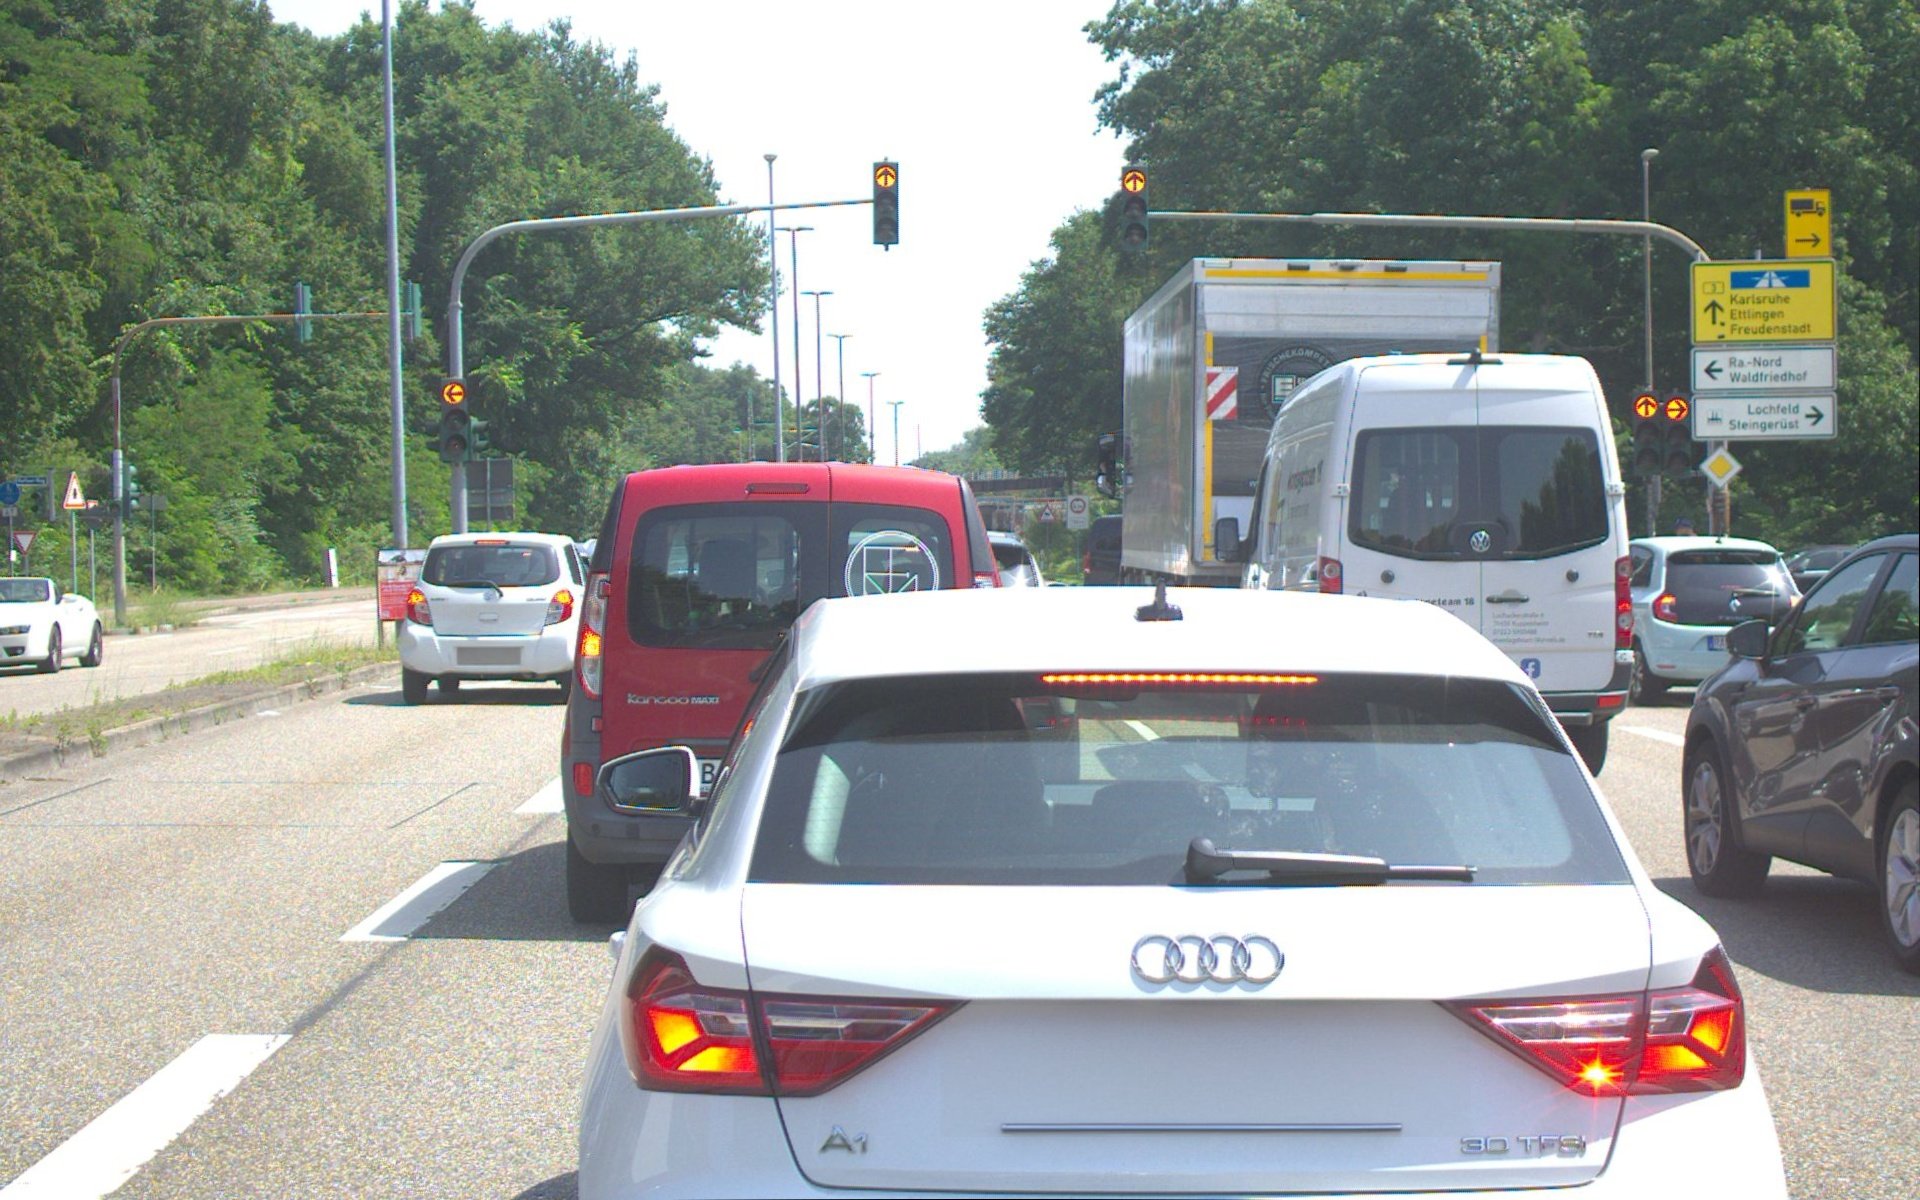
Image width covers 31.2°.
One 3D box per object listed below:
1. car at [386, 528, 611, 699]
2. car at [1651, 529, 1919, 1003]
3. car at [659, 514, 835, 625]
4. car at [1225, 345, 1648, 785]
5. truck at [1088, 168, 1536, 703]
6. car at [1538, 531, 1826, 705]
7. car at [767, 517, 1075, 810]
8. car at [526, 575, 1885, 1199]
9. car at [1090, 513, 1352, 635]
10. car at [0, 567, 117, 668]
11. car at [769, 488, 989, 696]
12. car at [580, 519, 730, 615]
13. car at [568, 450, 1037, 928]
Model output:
[{"bbox_3d":[-4.247,0.077,32.116,1.711,1.487,4.092,0,1,-2],"label":"car"},{"bbox_3d":[4.007,0.523,13.220,1.711,1.587,4.092,0,1,-2],"label":"car"},{"bbox_3d":[-4.108,-0.597,65.766,1.993,2.007,4.001,-2,1,-25],"label":"car"},{"bbox_3d":[3.044,-0.255,23.036,2.031,2.635,4.846,0,1,-2],"label":"car"},{"bbox_3d":[3.144,-1.485,34.388,3.088,4.418,11.581,0,1,-1],"label":"truck"},{"bbox_3d":[6.778,0.120,32.671,1.711,1.541,4.092,0,1,-2],"label":"car"},{"bbox_3d":[-0.301,0.309,21.134,1.711,1.626,4.092,0,1,-2],"label":"car"},{"bbox_3d":[0.229,0.670,6.369,1.711,1.381,4.092,0,1,-2],"label":"car"},{"bbox_3d":[4.493,-0.447,59.248,3.994,2.007,1.997,0,1,32],"label":"car"},{"bbox_3d":[-13.016,0.243,47.518,1.718,1.258,4.302,-3,1,-1],"label":"car"},{"bbox_3d":[-0.718,-0.102,28.921,1.711,1.626,4.092,0,1,-2],"label":"car"},{"bbox_3d":[-6.702,-0.739,75.292,1.993,2.007,4.001,-2,1,-25],"label":"car"},{"bbox_3d":[-0.658,0.284,14.615,1.711,1.742,4.092,0,1,-2],"label":"car"}]
